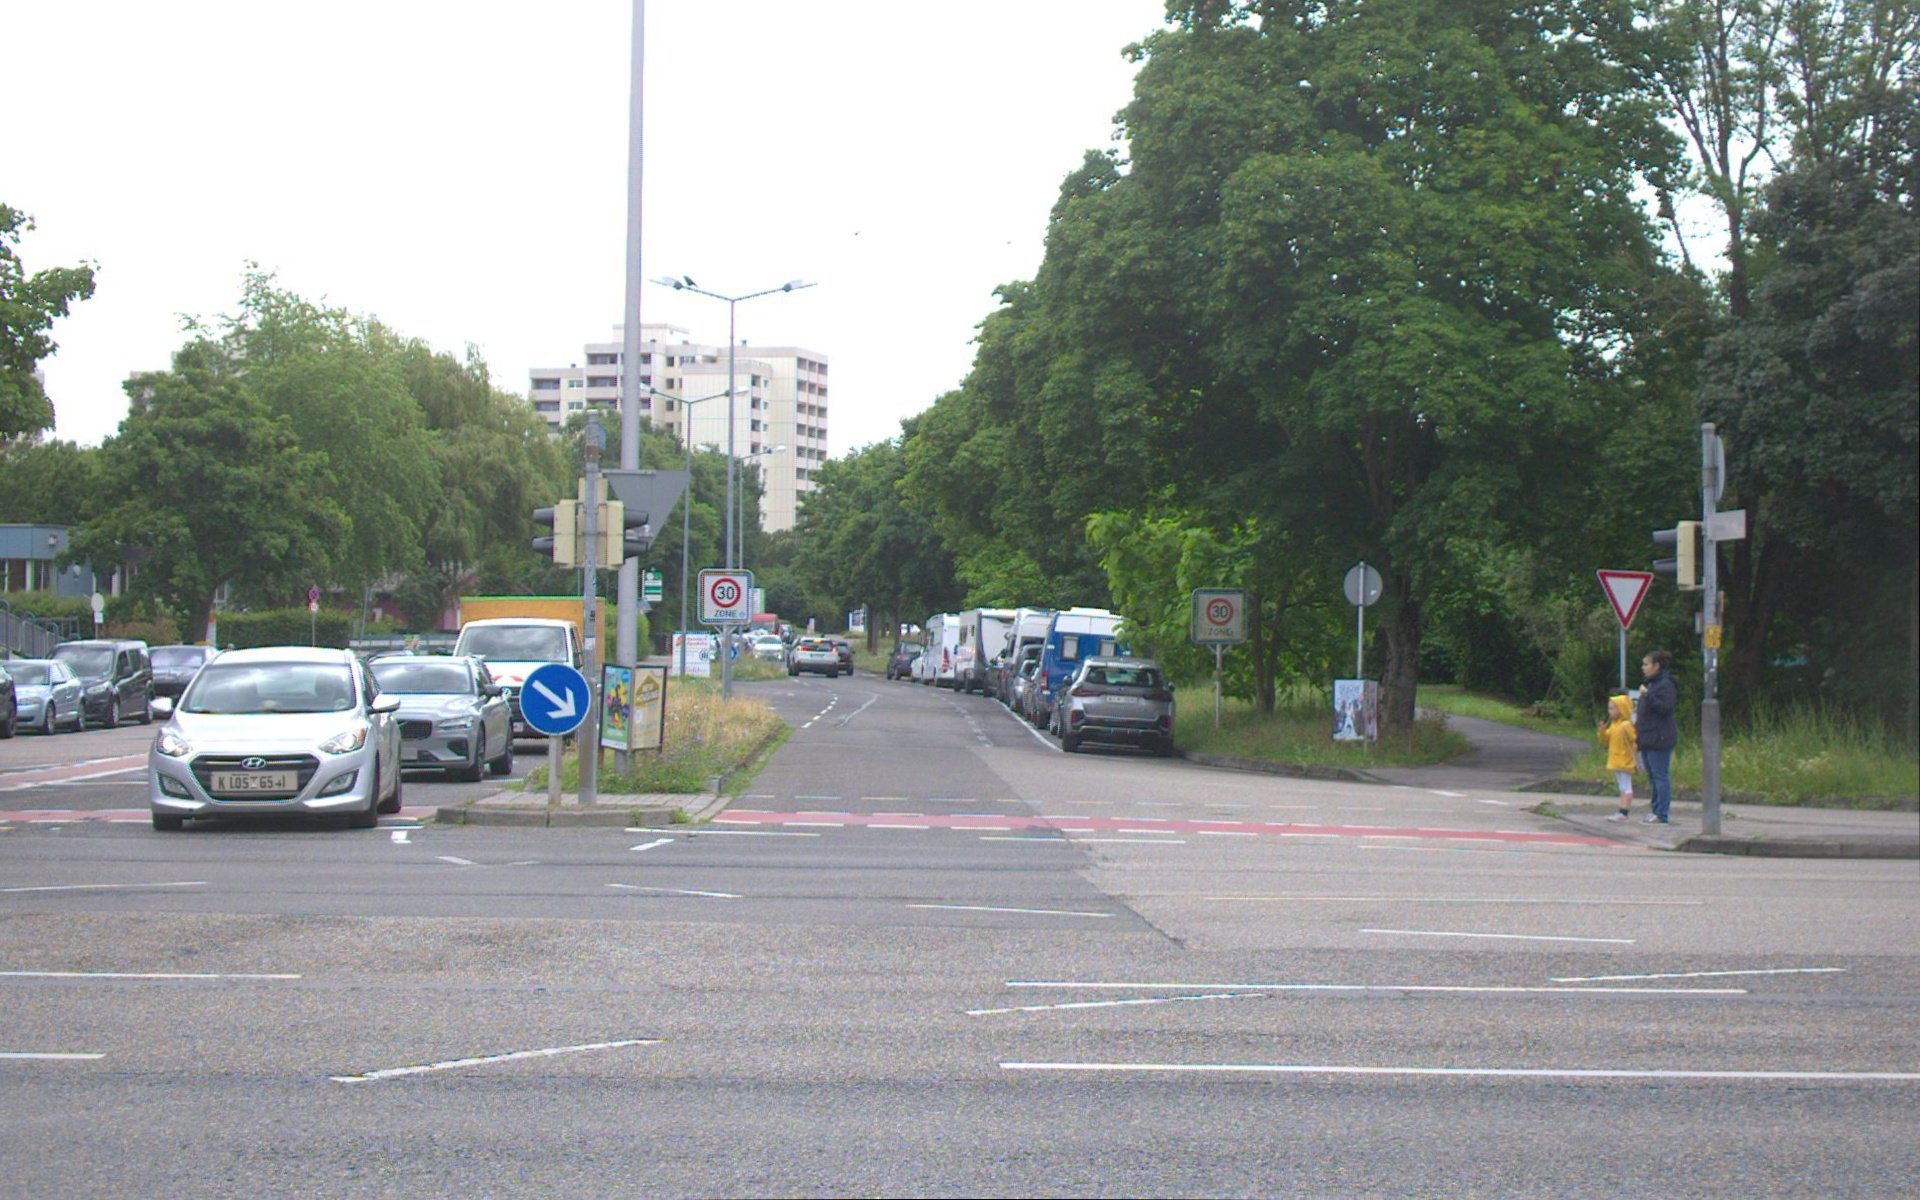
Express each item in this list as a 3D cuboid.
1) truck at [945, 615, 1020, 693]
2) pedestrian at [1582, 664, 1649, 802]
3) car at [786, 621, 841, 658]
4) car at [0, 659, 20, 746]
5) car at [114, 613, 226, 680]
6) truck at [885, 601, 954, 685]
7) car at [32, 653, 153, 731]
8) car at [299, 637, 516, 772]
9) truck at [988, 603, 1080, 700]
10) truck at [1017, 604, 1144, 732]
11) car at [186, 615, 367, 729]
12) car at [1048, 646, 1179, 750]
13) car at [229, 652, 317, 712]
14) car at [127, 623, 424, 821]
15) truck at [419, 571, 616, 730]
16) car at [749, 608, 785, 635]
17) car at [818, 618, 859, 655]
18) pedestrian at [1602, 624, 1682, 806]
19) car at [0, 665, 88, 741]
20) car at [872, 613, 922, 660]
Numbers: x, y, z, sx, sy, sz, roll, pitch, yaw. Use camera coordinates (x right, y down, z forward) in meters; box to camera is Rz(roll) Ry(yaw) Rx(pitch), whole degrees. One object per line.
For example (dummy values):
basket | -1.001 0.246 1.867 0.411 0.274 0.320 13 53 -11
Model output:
truck | 0.731 1.848 115.866 1.993 2.564 5.379 0 -1 -5
pedestrian | 6.445 1.303 33.810 0.526 1.337 0.525 1 -1 -3
car | -6.032 1.624 141.106 2.020 1.500 4.000 1 -1 -6
car | -17.851 1.810 60.471 1.671 1.547 3.892 1 -1 -2
car | -18.040 1.042 78.670 1.675 1.483 4.000 1 0 -1
truck | -1.524 1.614 126.577 1.993 2.999 5.772 0 -1 -6
car | -17.960 1.883 71.301 1.671 1.547 3.762 1 -1 -2
car | -6.358 1.172 40.040 1.896 1.415 4.736 1 0 -2
truck | 2.201 1.565 103.850 1.993 2.829 5.732 1 -1 -7
truck | 2.551 1.474 74.483 2.174 2.647 6.246 0 -1 -3
car | -9.228 0.964 46.737 1.770 1.473 4.390 0 -1 -3
car | 2.542 1.614 57.661 1.783 1.656 4.000 1 -1 -3
car | -18.279 2.159 91.627 1.671 1.547 4.000 0 -1 -2
car | -5.624 1.022 28.729 1.789 1.514 4.325 1 -2 -3
truck | -6.455 0.737 50.790 2.155 2.191 5.840 1 -1 0
car | -11.261 1.274 200.568 2.020 1.500 4.000 1 -1 -3
car | -5.512 1.667 155.664 1.395 1.627 3.486 1 -1 -9
pedestrian | 6.583 1.107 33.190 0.657 1.744 0.459 1 -1 -3
car | -17.990 1.957 65.964 1.671 1.382 3.895 1 -1 -2
car | -2.619 1.502 142.525 1.651 1.912 3.919 1 0 -7
